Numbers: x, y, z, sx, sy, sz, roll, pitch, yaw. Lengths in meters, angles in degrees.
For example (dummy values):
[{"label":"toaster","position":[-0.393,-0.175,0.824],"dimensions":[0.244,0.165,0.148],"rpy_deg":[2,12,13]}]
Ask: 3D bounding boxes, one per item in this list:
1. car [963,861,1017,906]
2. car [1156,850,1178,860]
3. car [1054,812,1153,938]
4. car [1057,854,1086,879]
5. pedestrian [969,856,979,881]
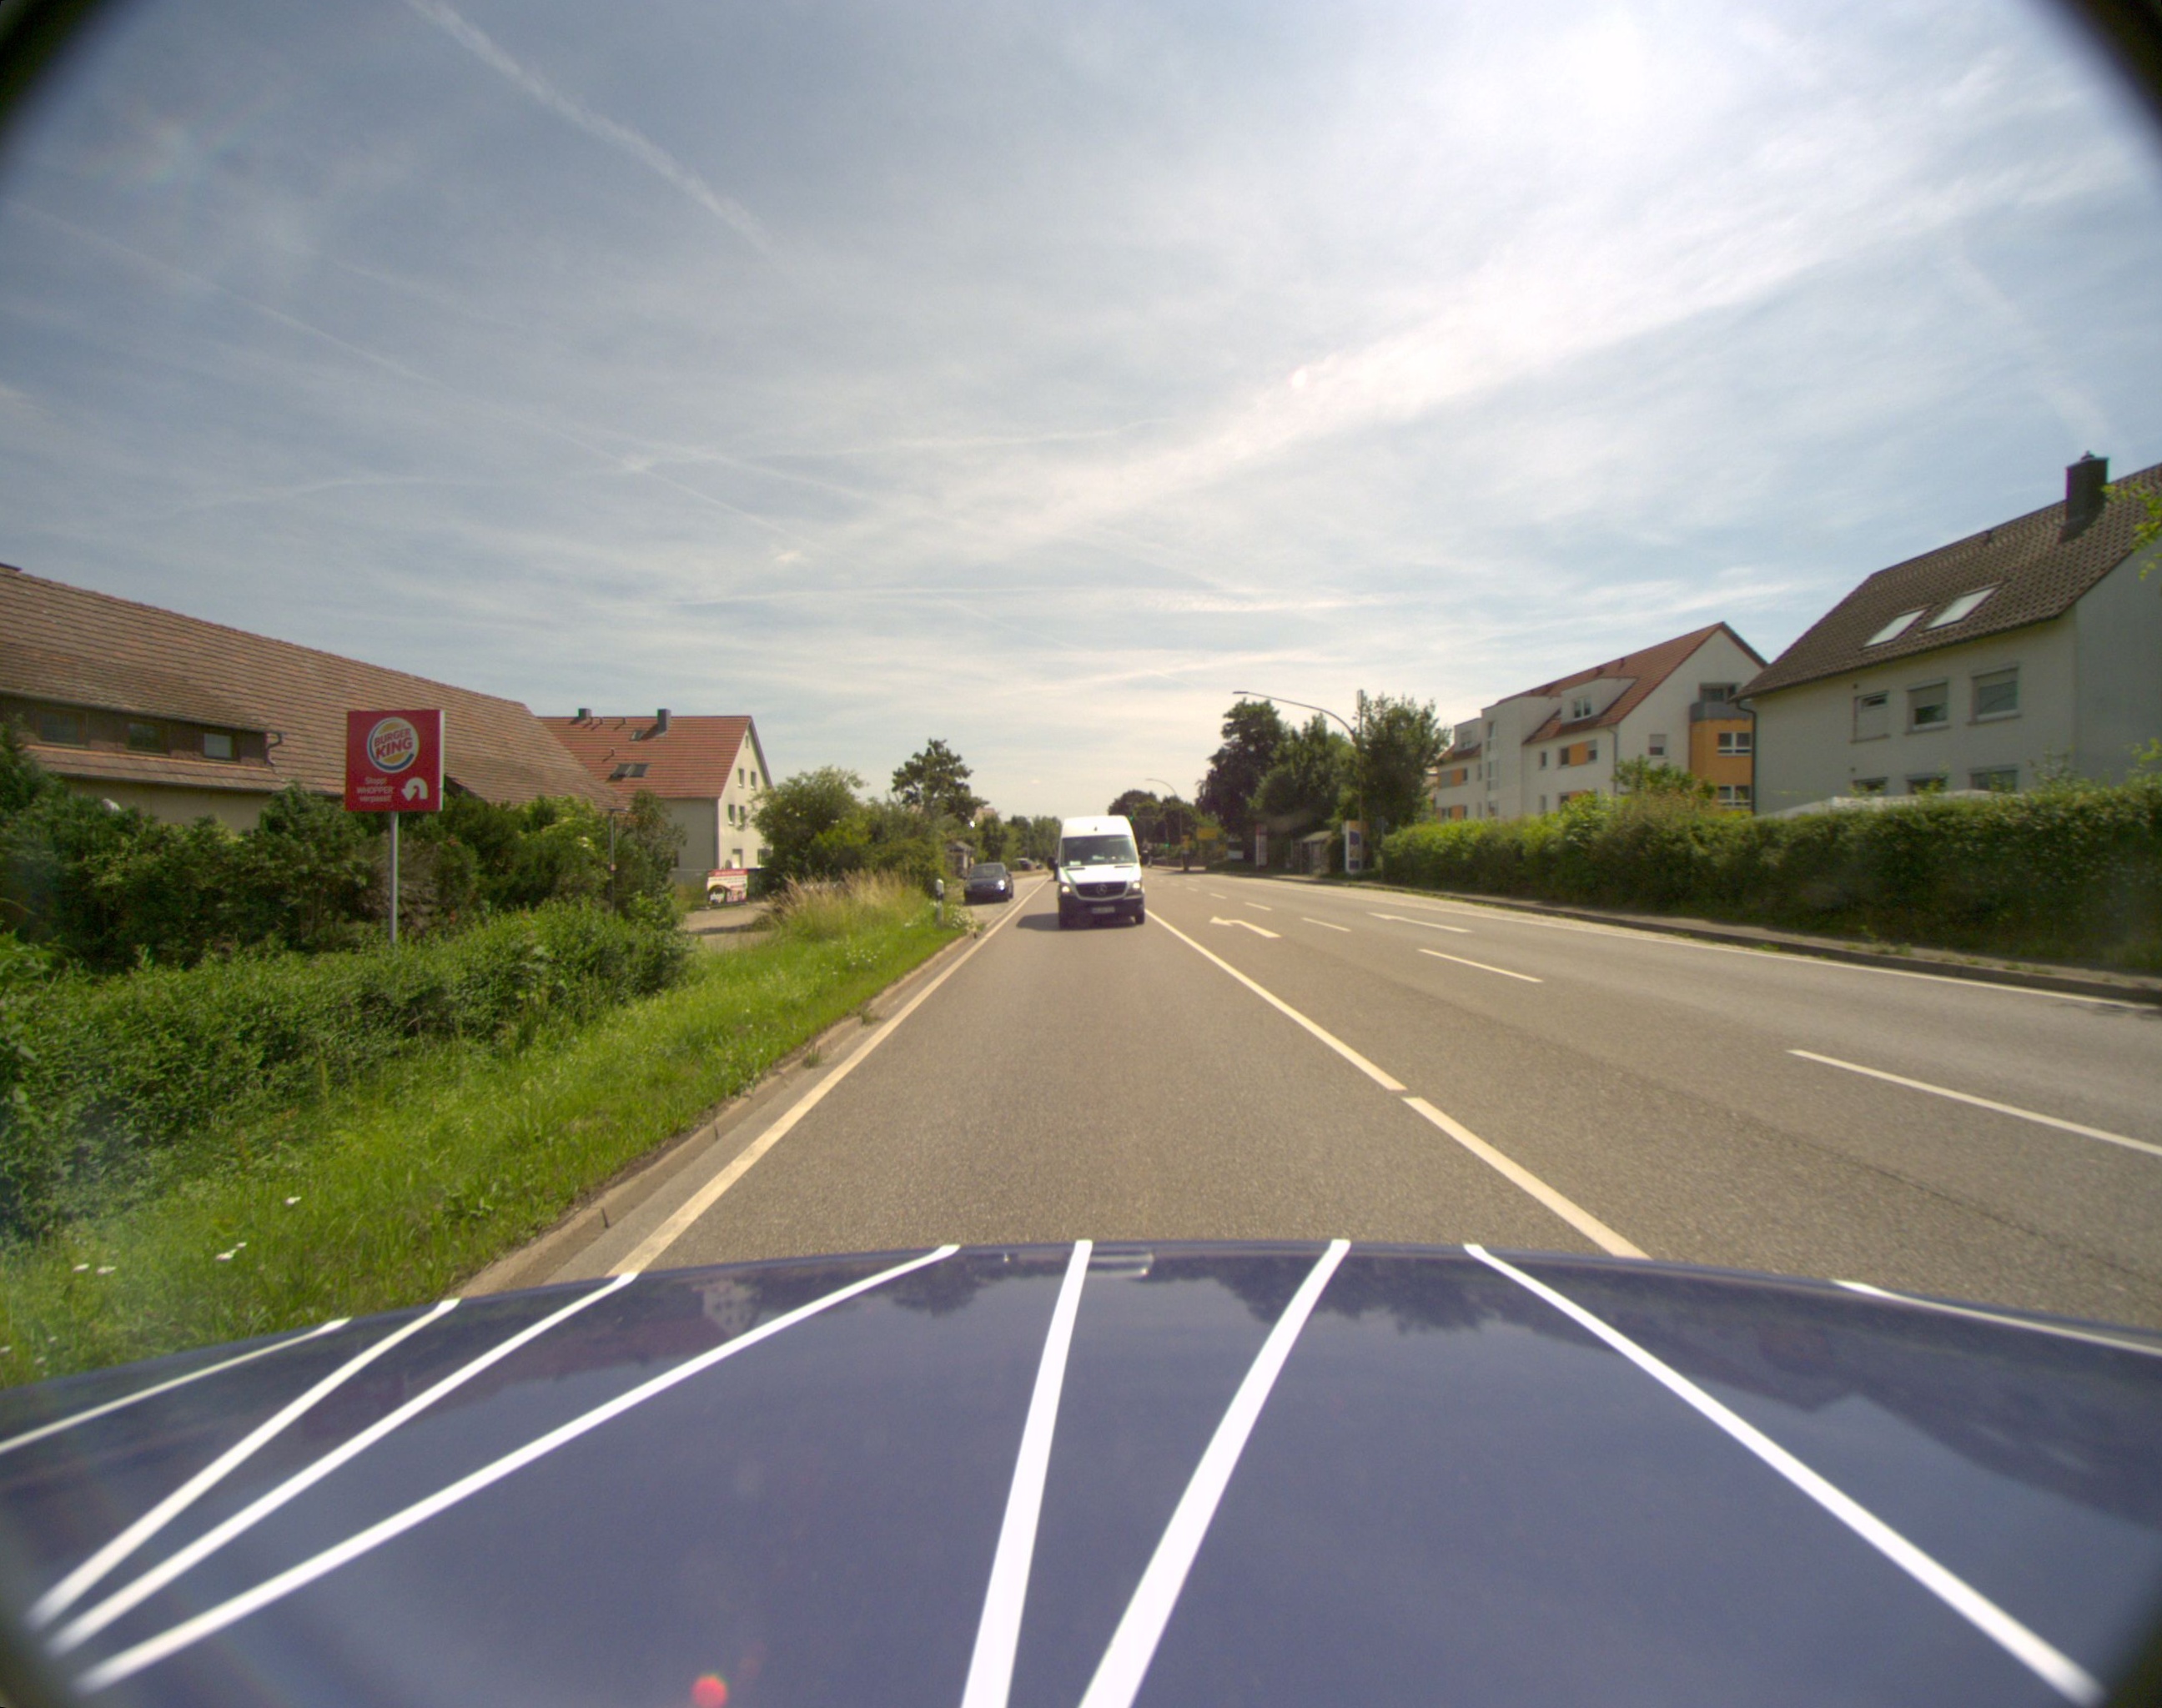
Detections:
[{"label":"car","position":[-3.481,1.104,29.637],"dimensions":[1.636,1.476,3.551],"rpy_deg":[-5,1,-1]},{"label":"car","position":[17.004,0.197,150.032],"dimensions":[3.998,1.760,1.999],"rpy_deg":[-3,1,-4]},{"label":"car","position":[0.474,0.425,18.372],"dimensions":[1.939,2.514,5.749],"rpy_deg":[-2,0,0]},{"label":"car","position":[-0.658,0.844,54.117],"dimensions":[1.884,1.652,4.625],"rpy_deg":[-3,0,0]},{"label":"pedestrian","position":[-6.812,0.896,48.329],"dimensions":[0.522,1.540,0.562],"rpy_deg":[-2,2,-19]}]
